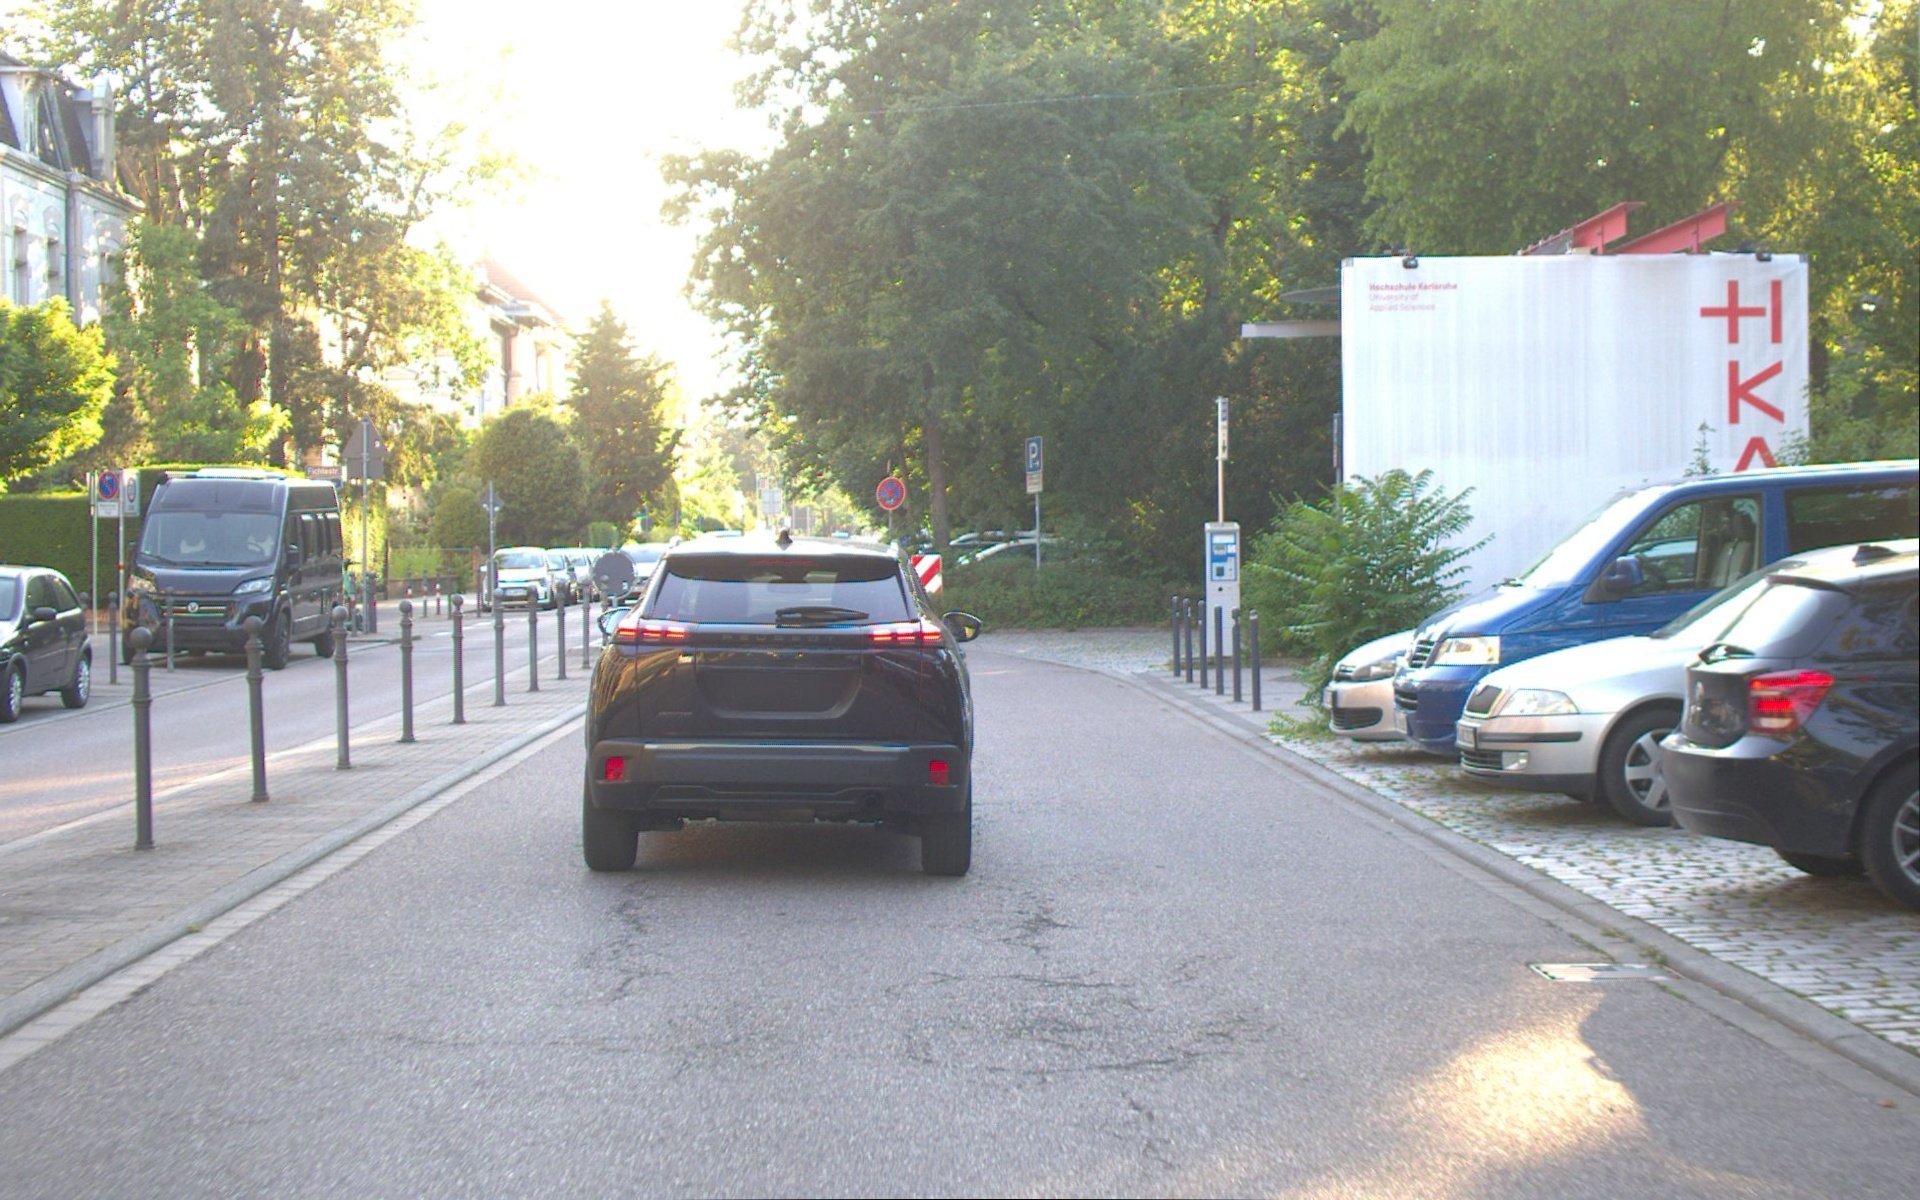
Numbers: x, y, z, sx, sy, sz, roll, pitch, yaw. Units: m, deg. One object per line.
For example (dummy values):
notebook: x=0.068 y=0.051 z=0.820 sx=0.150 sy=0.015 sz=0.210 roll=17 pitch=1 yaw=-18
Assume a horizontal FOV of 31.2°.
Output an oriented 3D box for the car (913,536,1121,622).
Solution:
car: x=1.094 y=-0.419 z=67.183 sx=3.987 sy=1.549 sz=1.726 roll=-1 pitch=2 yaw=-1

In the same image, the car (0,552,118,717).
car: x=-9.499 y=0.278 z=33.261 sx=1.696 sy=1.465 sz=3.854 roll=2 pitch=1 yaw=0

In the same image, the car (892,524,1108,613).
car: x=0.730 y=-0.603 z=64.770 sx=3.987 sy=1.549 sz=1.726 roll=-1 pitch=2 yaw=-1

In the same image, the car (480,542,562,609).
car: x=-10.444 y=-0.597 z=82.036 sx=1.613 sy=1.510 sz=3.712 roll=-2 pitch=1 yaw=-3

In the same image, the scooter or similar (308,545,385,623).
scooter or similar: x=-10.175 y=-0.273 z=57.046 sx=0.431 sy=1.270 sz=1.341 roll=0 pitch=1 yaw=34

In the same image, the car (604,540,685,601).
car: x=-7.898 y=-0.763 z=86.310 sx=1.741 sy=1.453 sz=4.624 roll=-1 pitch=1 yaw=-2

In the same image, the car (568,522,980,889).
car: x=-0.849 y=0.414 z=16.981 sx=1.771 sy=1.563 sz=4.109 roll=1 pitch=1 yaw=-1

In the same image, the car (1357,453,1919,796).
car: x=5.069 y=0.087 z=21.444 sx=4.852 sy=1.909 sz=1.916 roll=-3 pitch=1 yaw=-2

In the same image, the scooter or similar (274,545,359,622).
scooter or similar: x=-10.745 y=-0.276 z=57.406 sx=1.340 sy=1.270 sz=0.432 roll=-1 pitch=1 yaw=-36

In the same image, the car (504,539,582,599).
car: x=-10.650 y=-0.811 z=87.928 sx=1.613 sy=1.480 sz=3.742 roll=-1 pitch=1 yaw=-2

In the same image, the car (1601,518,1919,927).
car: x=5.078 y=0.388 z=14.334 sx=4.362 sy=1.532 sz=1.921 roll=-3 pitch=1 yaw=-2

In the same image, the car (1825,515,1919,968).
car: x=5.416 y=0.392 z=11.739 sx=4.362 sy=1.532 sz=1.921 roll=-3 pitch=1 yaw=-2

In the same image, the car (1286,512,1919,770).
car: x=4.897 y=0.247 z=24.170 sx=4.926 sy=1.548 sz=1.916 roll=-3 pitch=1 yaw=-2

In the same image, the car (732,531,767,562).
car: x=-12.752 y=-3.249 z=208.552 sx=1.993 sy=1.809 sz=4.000 roll=0 pitch=1 yaw=-2

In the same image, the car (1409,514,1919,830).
car: x=5.134 y=0.313 z=19.129 sx=4.926 sy=1.548 sz=1.916 roll=-3 pitch=1 yaw=-2

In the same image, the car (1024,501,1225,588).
car: x=3.679 y=-1.255 z=77.534 sx=4.306 sy=1.798 sz=2.036 roll=-2 pitch=1 yaw=-2

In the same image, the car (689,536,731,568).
car: x=-12.378 y=-2.403 z=170.599 sx=1.899 sy=1.568 sz=4.000 roll=0 pitch=1 yaw=-2

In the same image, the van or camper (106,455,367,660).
van or camper: x=-9.726 y=-0.590 z=46.857 sx=2.229 sy=2.535 sz=7.080 roll=1 pitch=1 yaw=-2
